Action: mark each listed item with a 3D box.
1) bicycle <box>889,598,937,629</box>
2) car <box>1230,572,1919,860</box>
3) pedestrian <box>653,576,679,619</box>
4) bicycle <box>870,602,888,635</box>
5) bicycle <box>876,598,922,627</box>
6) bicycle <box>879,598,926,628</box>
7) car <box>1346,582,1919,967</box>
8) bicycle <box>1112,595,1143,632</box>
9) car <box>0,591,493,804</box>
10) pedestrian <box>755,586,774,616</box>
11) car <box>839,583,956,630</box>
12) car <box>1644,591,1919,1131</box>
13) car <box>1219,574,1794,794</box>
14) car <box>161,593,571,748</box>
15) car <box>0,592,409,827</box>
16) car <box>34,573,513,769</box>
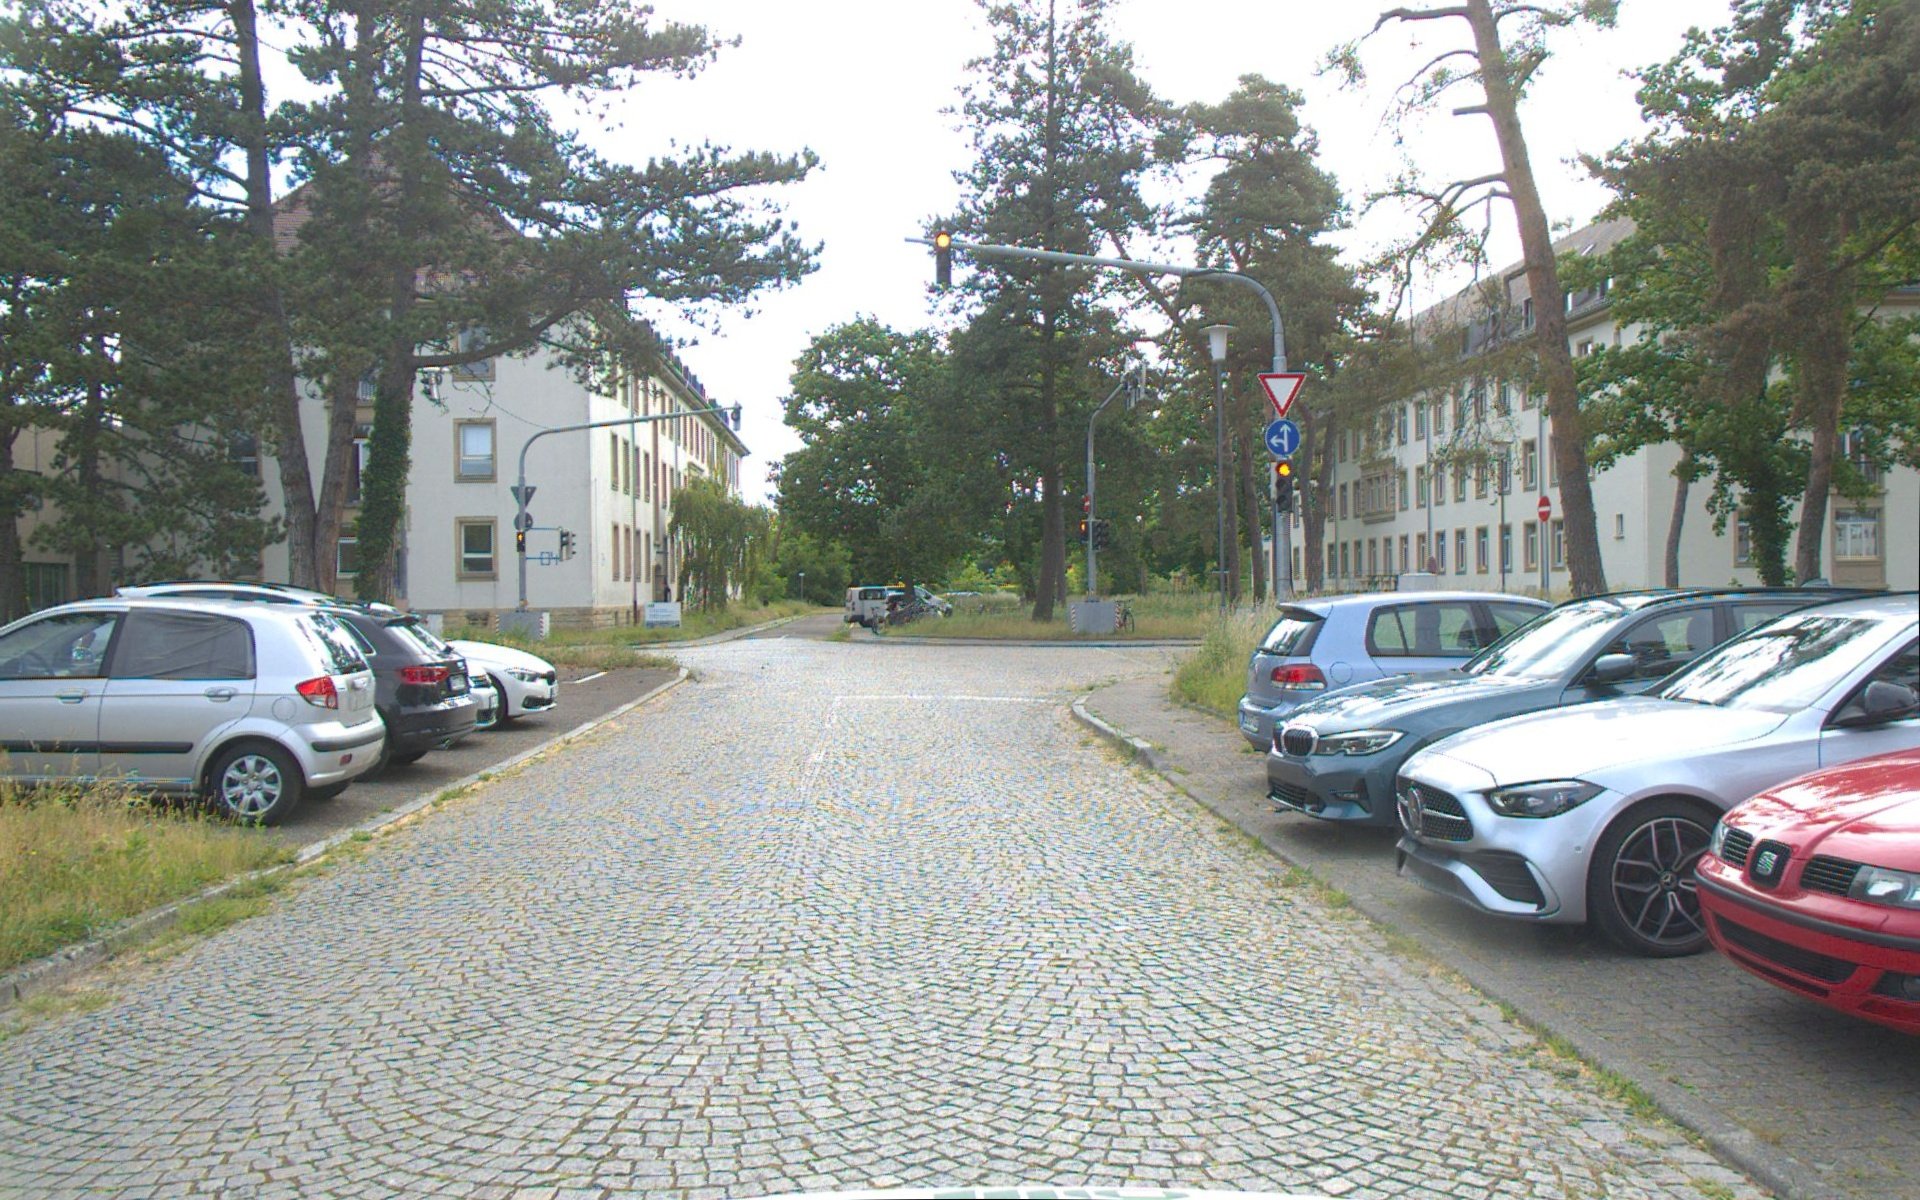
[{"bbox_3d":[-1.853,0.525,65.056,1.846,1.191,0.664,1,0,-9],"label":"bicycle"},{"bbox_3d":[4.019,0.644,10.664,4.157,1.505,1.703,-2,0,-14],"label":"car"},{"bbox_3d":[-13.666,-0.114,76.905,1.053,1.993,1.121,1,0,-3],"label":"pedestrian"},{"bbox_3d":[-2.952,0.664,60.355,0.649,1.191,1.887,1,0,-3],"label":"bicycle"},{"bbox_3d":[-2.525,0.518,68.518,1.846,1.191,0.664,1,0,-9],"label":"bicycle"},{"bbox_3d":[-2.364,0.520,67.574,1.846,1.191,0.664,1,0,-9],"label":"bicycle"},{"bbox_3d":[4.140,0.678,7.901,4.110,1.462,1.751,-2,0,-10],"label":"car"},{"bbox_3d":[5.073,0.393,50.165,0.649,1.069,1.887,1,1,-3],"label":"bicycle"},{"bbox_3d":[-6.358,0.780,14.297,4.219,1.581,1.808,-2,0,-9],"label":"car"},{"bbox_3d":[-12.862,0.076,108.984,1.216,1.993,1.119,1,0,-8],"label":"pedestrian"},{"bbox_3d":[-3.024,0.276,79.809,5.288,2.138,2.170,-1,0,-15],"label":"car"},{"bbox_3d":[4.662,0.691,5.566,4.025,1.502,1.683,-2,0,-5],"label":"car"},{"bbox_3d":[4.287,0.606,13.235,4.058,1.489,1.630,-2,0,-8],"label":"car"},{"bbox_3d":[-6.862,0.771,19.533,4.219,1.581,1.808,-2,0,-9],"label":"car"},{"bbox_3d":[-6.001,0.721,11.719,3.649,1.506,1.671,1,0,-6],"label":"car"},{"bbox_3d":[-6.925,0.677,17.073,4.218,1.762,1.649,-2,0,-8],"label":"car"}]
